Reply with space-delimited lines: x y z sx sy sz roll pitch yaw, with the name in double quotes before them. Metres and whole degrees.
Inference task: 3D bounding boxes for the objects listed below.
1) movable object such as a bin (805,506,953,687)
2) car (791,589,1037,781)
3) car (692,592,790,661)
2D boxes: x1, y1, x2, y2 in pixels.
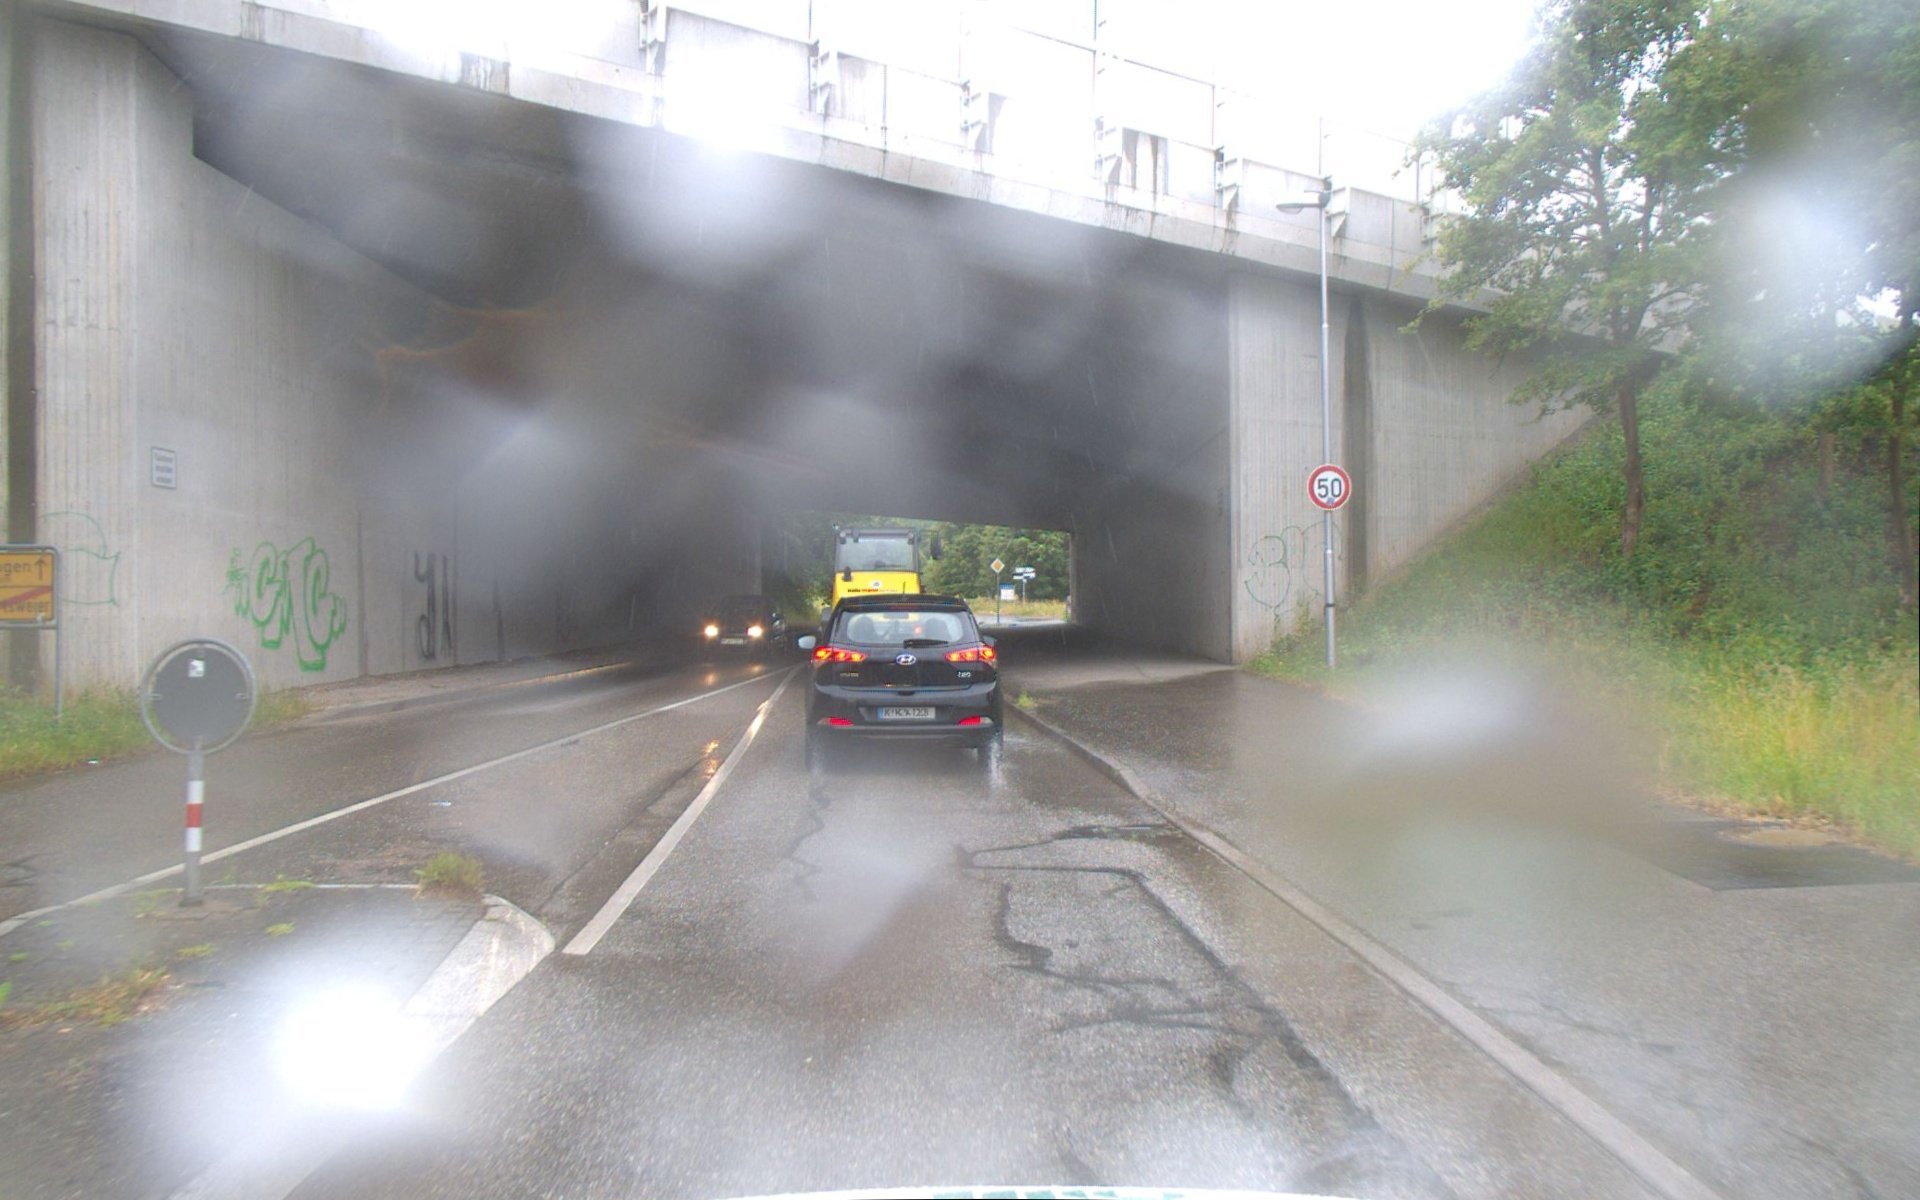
"movable object such as a bin" -1.366 -0.052 28.573 2.201 2.716 6.623 1 0 -2
"car" -0.446 0.686 15.324 1.953 1.513 3.998 1 0 -2
"car" -5.011 0.572 38.304 1.655 1.513 4.073 0 0 1
